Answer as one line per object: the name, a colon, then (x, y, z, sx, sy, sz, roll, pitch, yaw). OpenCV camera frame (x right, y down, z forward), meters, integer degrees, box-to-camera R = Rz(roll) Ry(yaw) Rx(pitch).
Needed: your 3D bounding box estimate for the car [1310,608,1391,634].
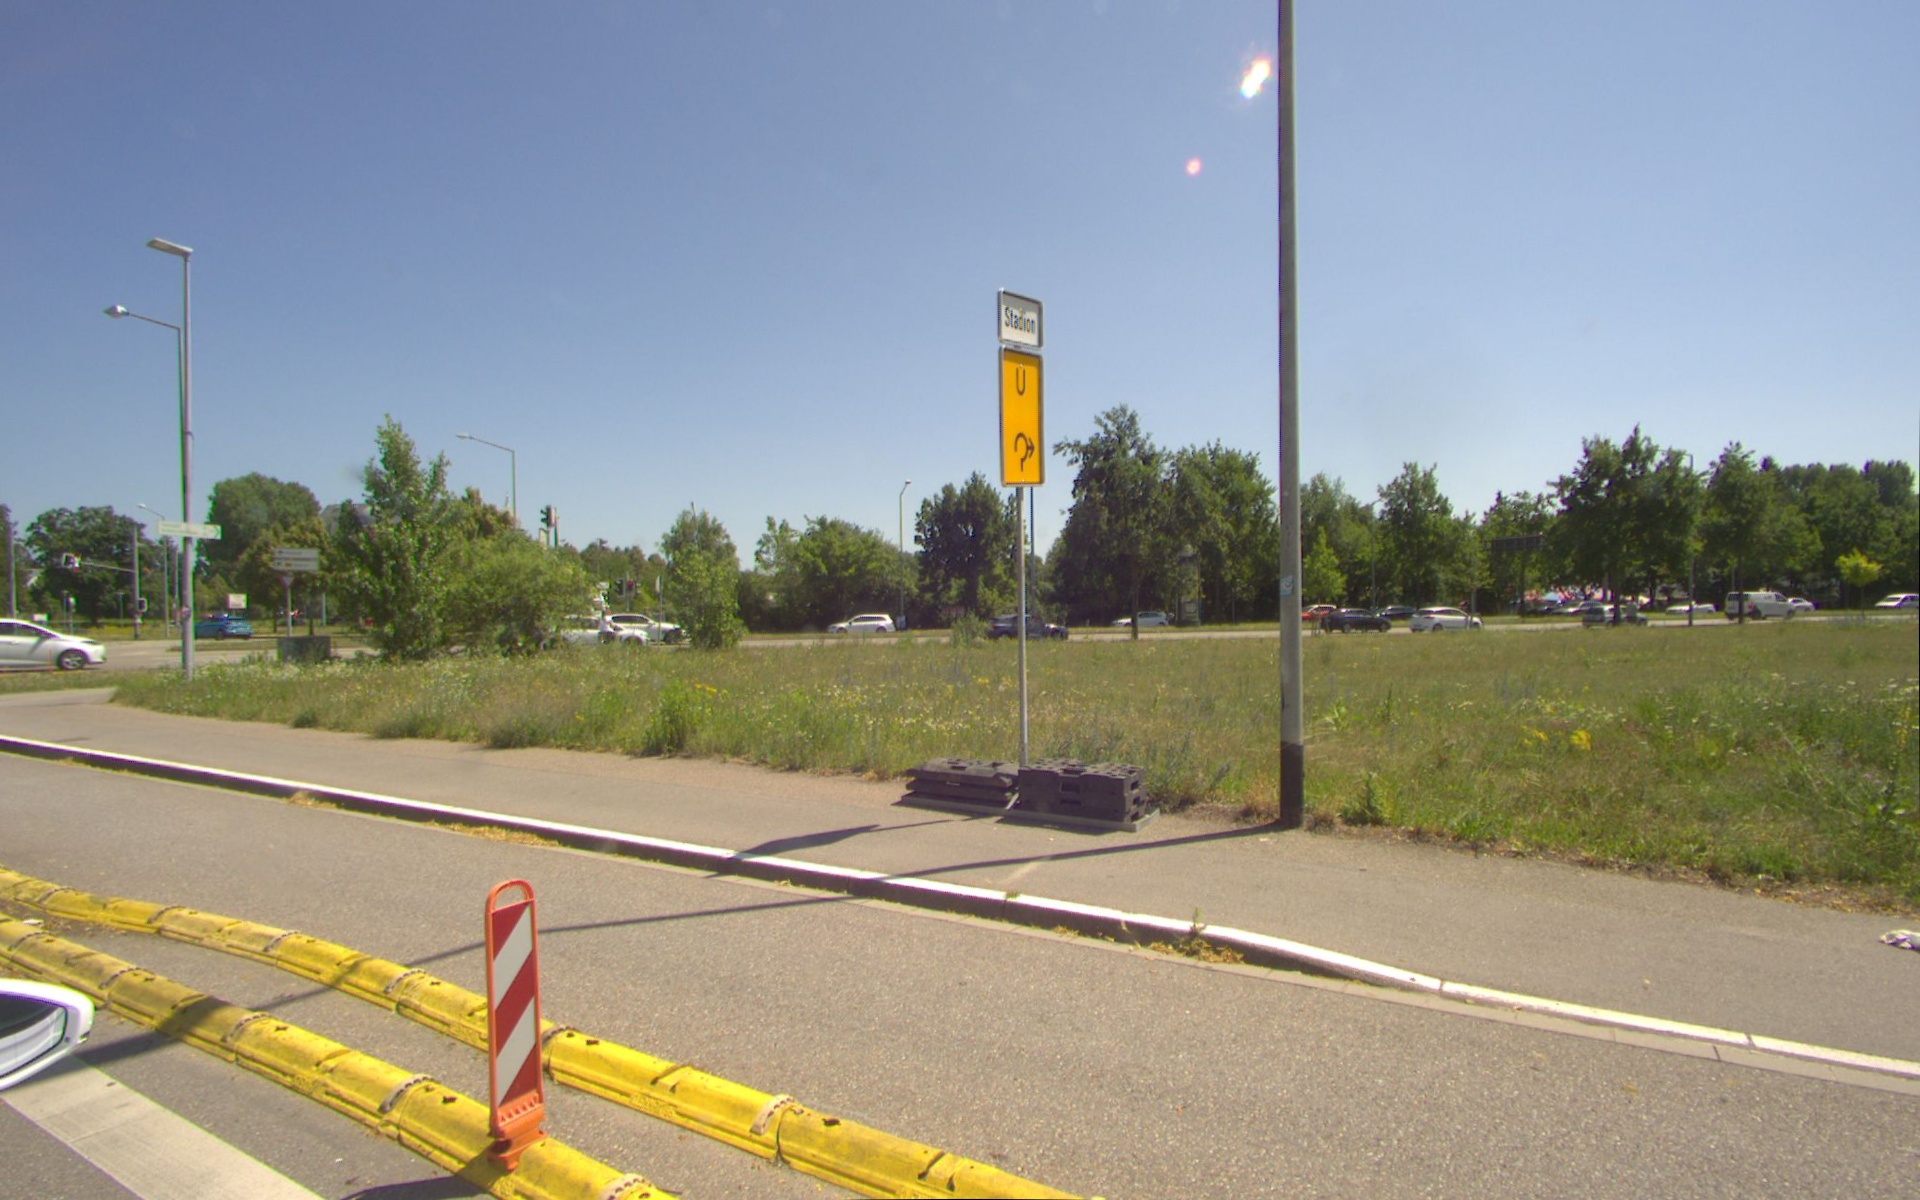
car: (22.343, 1.197, 57.339, 3.931, 1.425, 1.996, 0, -1, -19)

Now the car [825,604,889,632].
car: (-6.769, 1.190, 65.848, 3.928, 1.750, 1.736, 0, -1, -16)

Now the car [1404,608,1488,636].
car: (26.573, 1.204, 54.802, 3.946, 1.463, 1.632, 0, -1, -11)

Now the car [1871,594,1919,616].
car: (88.213, 0.461, 93.744, 4.993, 2.040, 1.997, 0, -1, -15)

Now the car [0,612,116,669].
car: (-27.660, 1.185, 29.599, 1.662, 1.641, 3.979, -1, -1, 42)

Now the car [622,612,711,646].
car: (-14.227, 1.381, 48.564, 3.938, 1.605, 1.833, 0, -1, -26)

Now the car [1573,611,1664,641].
car: (38.646, 1.502, 58.766, 4.855, 1.727, 1.995, 0, -1, -20)

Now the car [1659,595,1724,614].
car: (63.128, 0.374, 86.438, 4.695, 1.590, 1.998, 0, -1, -15)

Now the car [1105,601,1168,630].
car: (12.563, 1.105, 71.391, 3.928, 2.040, 1.997, 0, -1, -15)

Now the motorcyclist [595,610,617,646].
motorcyclist: (-13.155, 1.033, 37.229, 0.570, 1.306, 0.615, 0, -1, 3)

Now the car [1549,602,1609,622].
car: (48.273, 0.940, 78.105, 3.928, 1.572, 1.738, 0, -1, -16)

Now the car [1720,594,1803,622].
car: (55.291, 0.560, 69.067, 4.897, 1.874, 1.997, 0, -1, -16)

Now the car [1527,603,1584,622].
car: (48.556, 1.026, 81.656, 3.928, 1.572, 1.738, 0, -1, -16)

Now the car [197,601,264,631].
car: (-47.652, 1.058, 65.399, 3.937, 1.861, 1.993, -1, -1, 27)

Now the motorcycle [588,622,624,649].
motorcycle: (-13.130, 1.324, 37.184, 0.619, 0.982, 1.709, 0, -1, 3)

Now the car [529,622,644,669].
car: (-15.137, 1.799, 40.559, 4.198, 1.839, 1.992, 0, -1, -26)

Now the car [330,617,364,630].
car: (-88.228, 3.385, 144.194, 1.964, 1.736, 3.996, 0, -1, 16)

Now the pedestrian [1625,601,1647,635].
pedestrian: (31.591, 0.827, 46.810, 0.724, 1.583, 0.497, 0, -1, -18)

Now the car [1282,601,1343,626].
car: (25.248, 0.975, 71.767, 3.690, 1.739, 1.998, 0, -1, -13)

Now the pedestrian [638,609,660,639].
pedestrian: (-16.459, 1.253, 53.065, 0.811, 1.583, 0.790, -1, -1, 34)

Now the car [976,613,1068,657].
car: (2.955, 1.653, 48.056, 3.936, 2.040, 1.993, 0, -1, -24)
